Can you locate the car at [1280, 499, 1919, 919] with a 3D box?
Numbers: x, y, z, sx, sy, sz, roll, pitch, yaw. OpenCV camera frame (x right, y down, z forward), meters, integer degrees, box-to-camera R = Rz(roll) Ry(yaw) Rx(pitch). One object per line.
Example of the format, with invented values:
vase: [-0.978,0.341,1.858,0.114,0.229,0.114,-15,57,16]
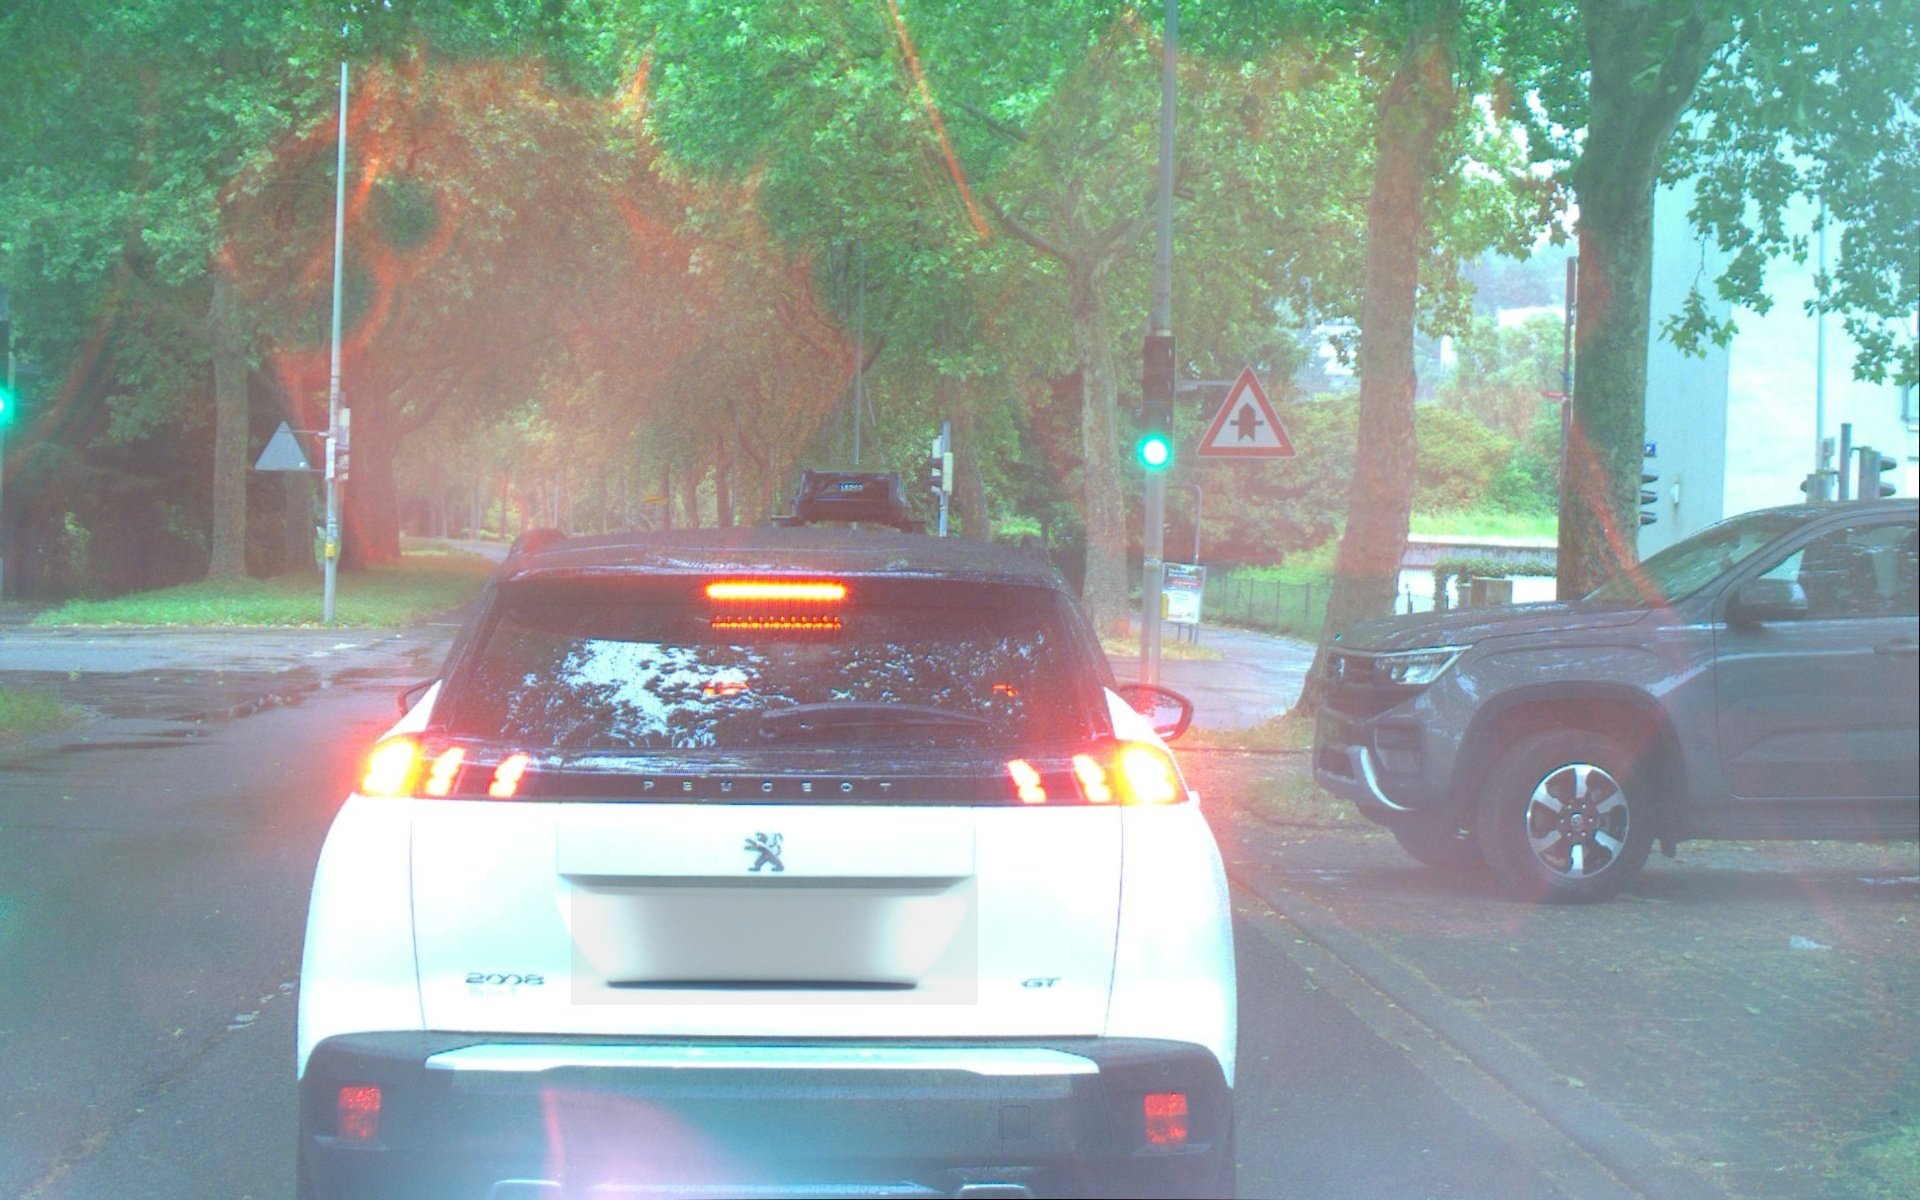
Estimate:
car: [4.304,0.439,15.960,5.337,1.800,1.846,0,1,-7]

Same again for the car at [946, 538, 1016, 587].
car: [0.676,-1.233,111.714,1.905,1.504,3.932,1,1,-5]

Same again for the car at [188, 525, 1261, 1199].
car: [-0.435,0.614,7.810,1.780,1.531,4.058,1,1,-1]
